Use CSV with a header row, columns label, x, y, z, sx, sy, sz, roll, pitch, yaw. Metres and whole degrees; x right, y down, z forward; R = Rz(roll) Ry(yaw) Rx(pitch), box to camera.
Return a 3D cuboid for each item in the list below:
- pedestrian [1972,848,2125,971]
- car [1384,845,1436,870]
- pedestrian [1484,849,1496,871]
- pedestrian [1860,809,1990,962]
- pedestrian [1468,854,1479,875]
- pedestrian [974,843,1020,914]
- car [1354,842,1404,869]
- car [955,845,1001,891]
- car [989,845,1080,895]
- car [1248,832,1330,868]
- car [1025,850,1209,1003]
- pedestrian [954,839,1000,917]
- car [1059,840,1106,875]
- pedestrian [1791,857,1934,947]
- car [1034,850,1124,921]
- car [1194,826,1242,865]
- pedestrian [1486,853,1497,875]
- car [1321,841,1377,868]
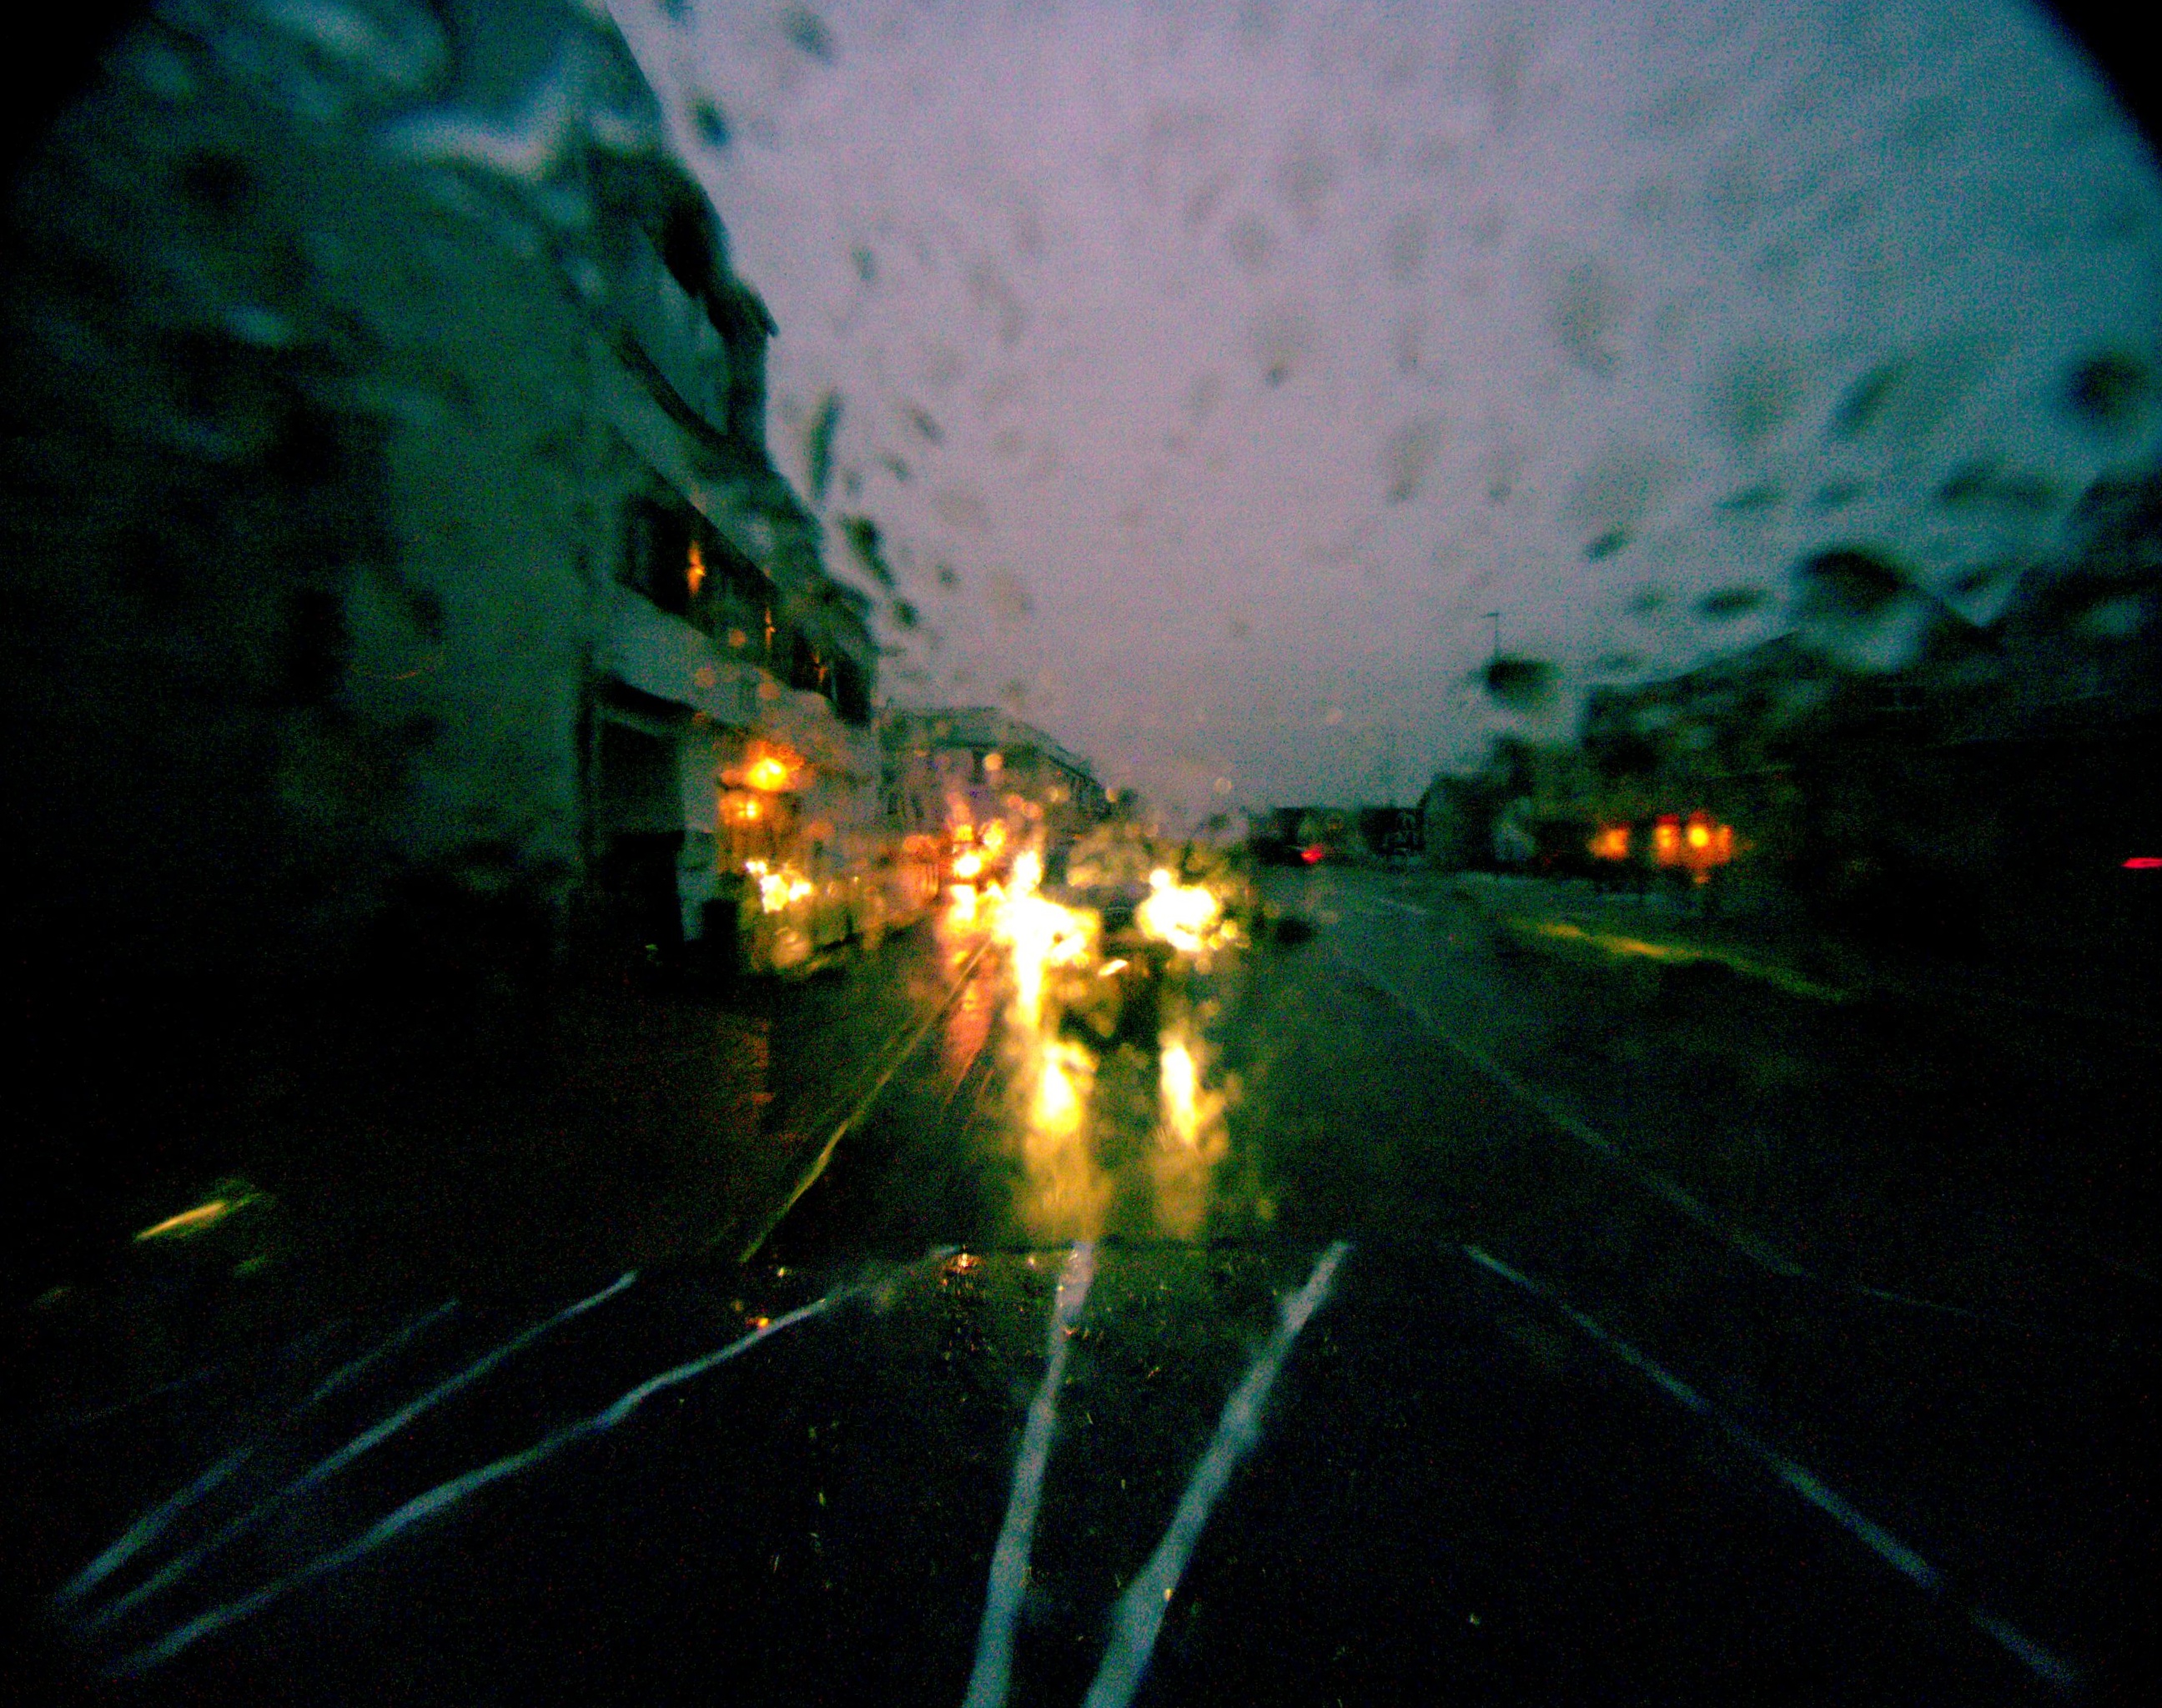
label,x,y,z,sx,sy,sz,roll,pitch,yaw
pedestrian,10.526,0.577,8.296,0.687,1.264,0.750,-2,0,5
car,26.998,0.256,62.485,1.936,1.871,3.866,-3,3,-13
pedestrian,29.796,0.434,55.353,0.582,1.602,0.500,-2,3,5
pedestrian,10.038,0.365,9.062,0.749,1.732,0.687,-2,0,1
pedestrian,29.958,0.808,58.007,0.582,1.602,0.500,-2,3,5
pedestrian,-2.151,0.613,19.507,0.789,1.752,0.769,1,4,44
car,24.324,0.096,62.180,1.926,2.003,3.966,-3,3,-13
car,-4.595,0.548,33.601,1.826,1.736,3.995,-3,3,-9
car,-1.790,0.507,27.505,2.030,1.471,4.549,-3,3,-19
car,12.526,-0.262,45.883,2.003,2.003,4.452,-4,3,-36
car,0.344,0.775,10.301,1.958,1.576,4.108,-1,1,-1
pedestrian,-2.565,0.579,18.777,0.789,1.856,0.711,1,4,44
car,0.070,0.120,37.979,2.172,1.469,3.998,-2,3,0
pedestrian,10.578,0.634,10.329,0.990,1.151,0.903,-2,-1,10
car,-0.165,0.717,19.663,1.764,1.471,4.015,-2,2,-8
car,7.877,-0.520,43.299,2.055,1.976,4.541,-1,3,18
pedestrian,31.493,0.750,58.330,0.582,1.602,0.500,-2,3,5
car,21.703,-0.002,61.599,1.974,1.984,3.990,-3,3,-26
